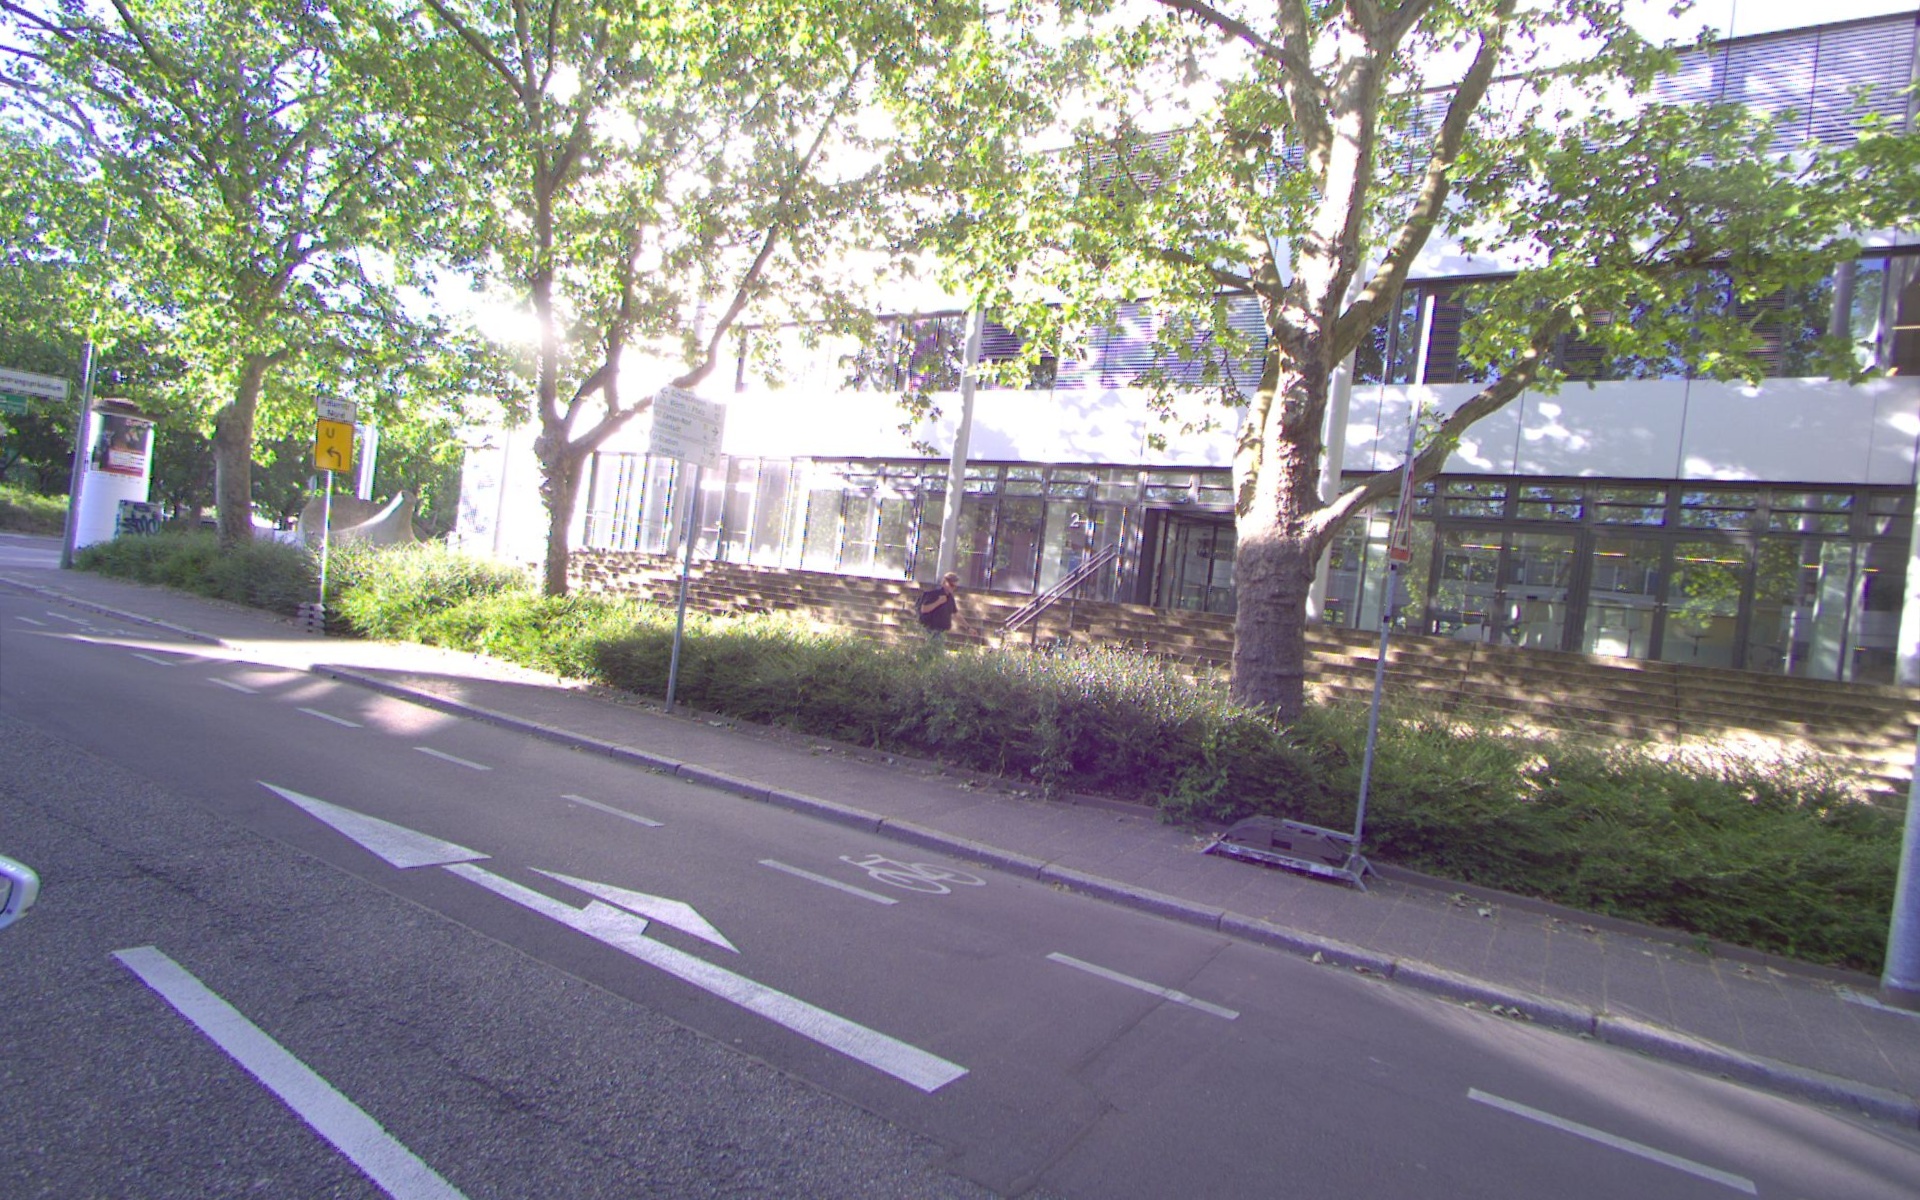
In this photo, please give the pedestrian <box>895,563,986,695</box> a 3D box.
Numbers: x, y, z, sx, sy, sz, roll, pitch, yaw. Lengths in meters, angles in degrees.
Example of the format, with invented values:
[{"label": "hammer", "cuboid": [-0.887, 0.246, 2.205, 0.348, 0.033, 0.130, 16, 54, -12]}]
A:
[{"label": "pedestrian", "cuboid": [-0.278, 0.439, 14.749, 0.848, 1.802, 0.785, 7, 0, 30]}]
